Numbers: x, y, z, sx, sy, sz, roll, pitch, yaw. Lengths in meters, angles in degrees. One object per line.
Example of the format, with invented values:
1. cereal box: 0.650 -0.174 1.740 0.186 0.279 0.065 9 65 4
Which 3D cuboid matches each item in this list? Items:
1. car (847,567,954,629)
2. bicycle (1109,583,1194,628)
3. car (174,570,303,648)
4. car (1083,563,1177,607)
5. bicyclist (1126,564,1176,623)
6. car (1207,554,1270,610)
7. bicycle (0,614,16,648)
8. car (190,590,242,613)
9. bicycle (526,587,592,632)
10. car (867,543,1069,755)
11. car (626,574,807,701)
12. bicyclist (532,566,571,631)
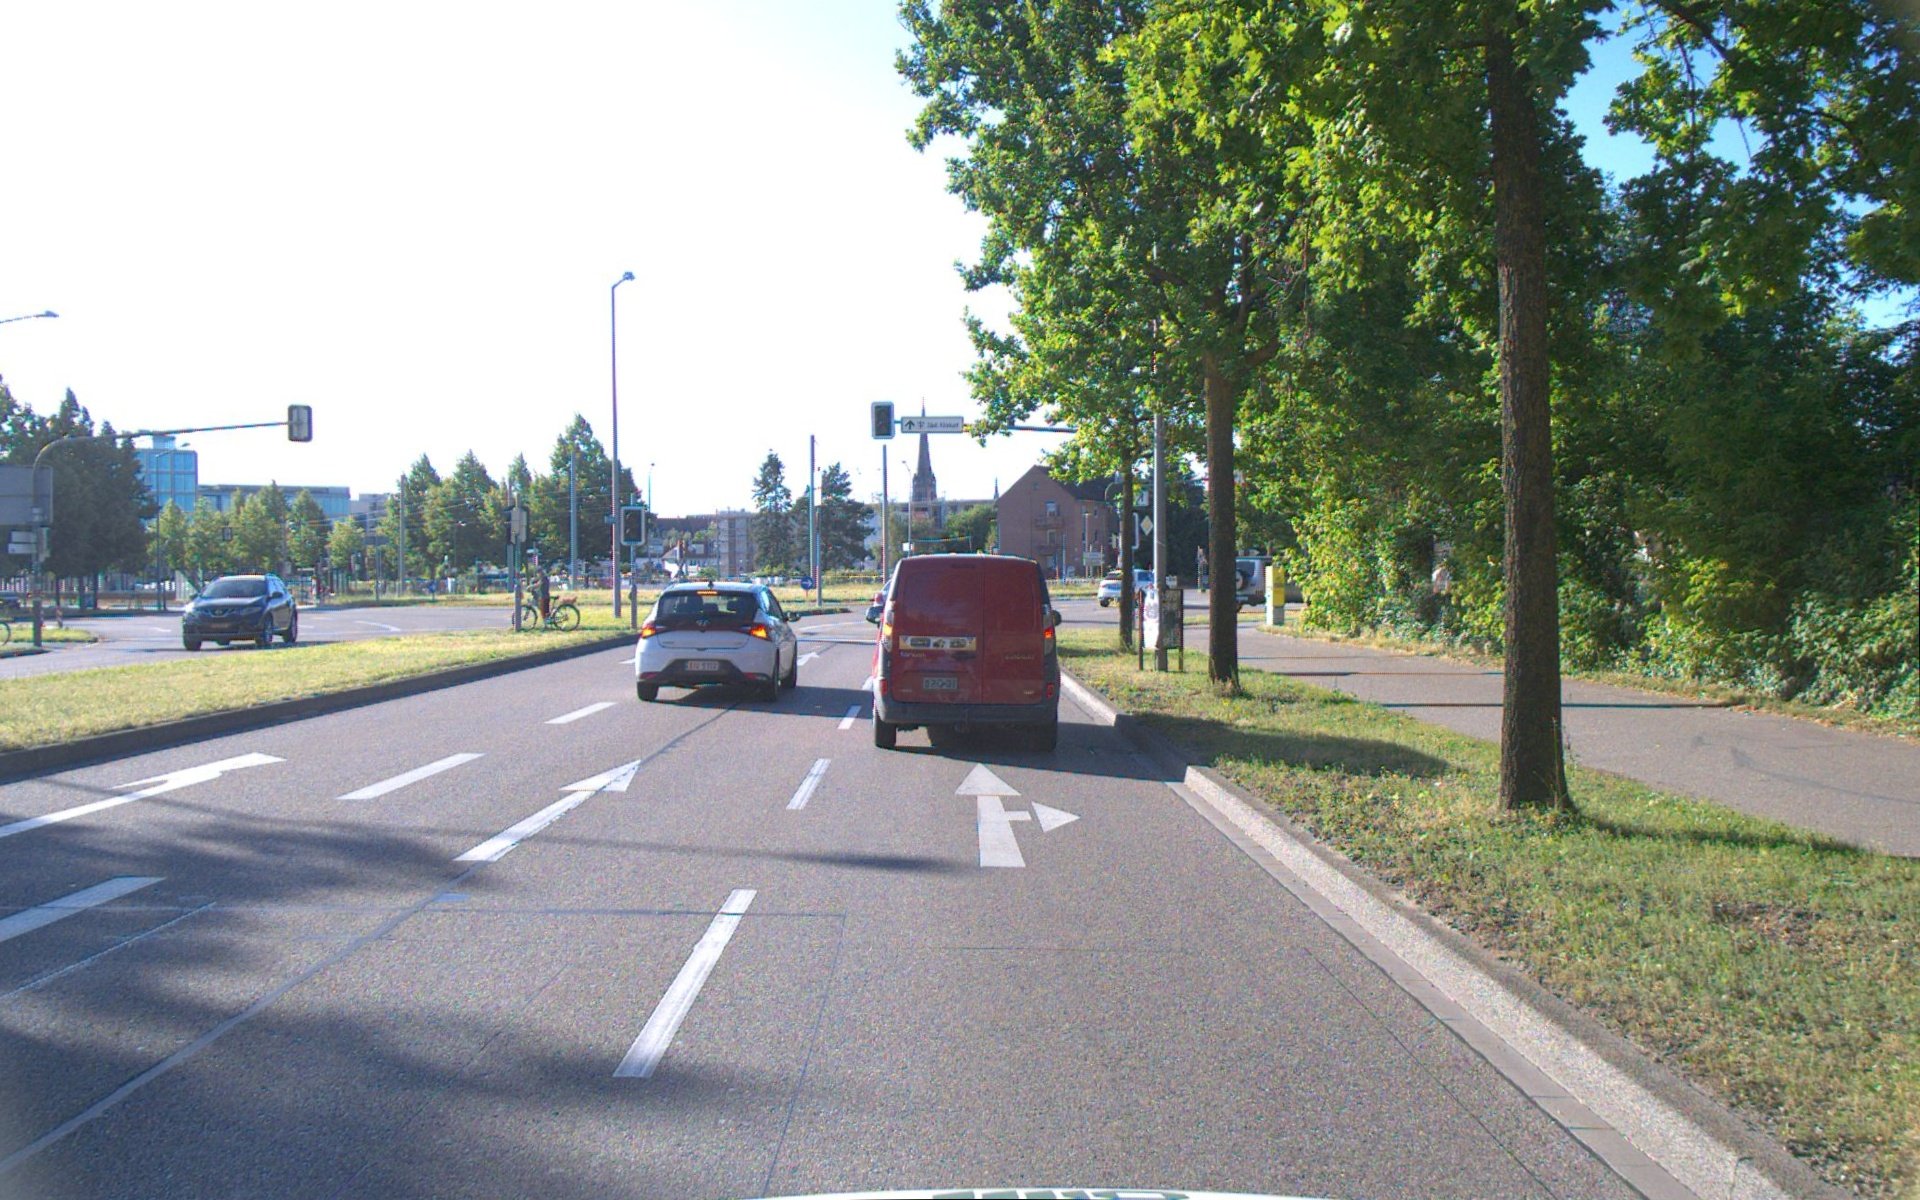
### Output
1. car: -1.595 -0.097 46.260 1.951 1.602 4.412 -1 1 12
2. bicycle: 5.343 0.152 46.089 2.181 1.175 0.870 -2 0 -24
3. car: -17.567 0.191 40.479 1.959 1.769 4.723 -1 0 -12
4. car: 6.784 -0.615 65.614 1.957 1.667 4.397 0 1 32
5. bicyclist: 5.315 -0.183 46.076 1.070 1.589 0.870 -2 0 -24
6. car: 10.059 -0.632 60.006 1.954 1.930 4.756 0 0 6
7. bicycle: -25.566 0.815 42.887 1.843 0.867 0.618 -1 1 5
8. car: -53.952 0.100 119.915 4.252 1.568 1.995 0 1 45
9. bicycle: -10.472 0.240 43.229 1.620 1.148 0.703 0 0 -10
10. car: 0.083 0.415 16.578 1.765 1.845 3.810 1 1 0
11. car: -3.089 0.425 21.653 1.766 1.487 3.810 1 1 0
12. bicyclist: -10.665 -0.033 43.185 0.923 1.692 0.703 0 0 -10
